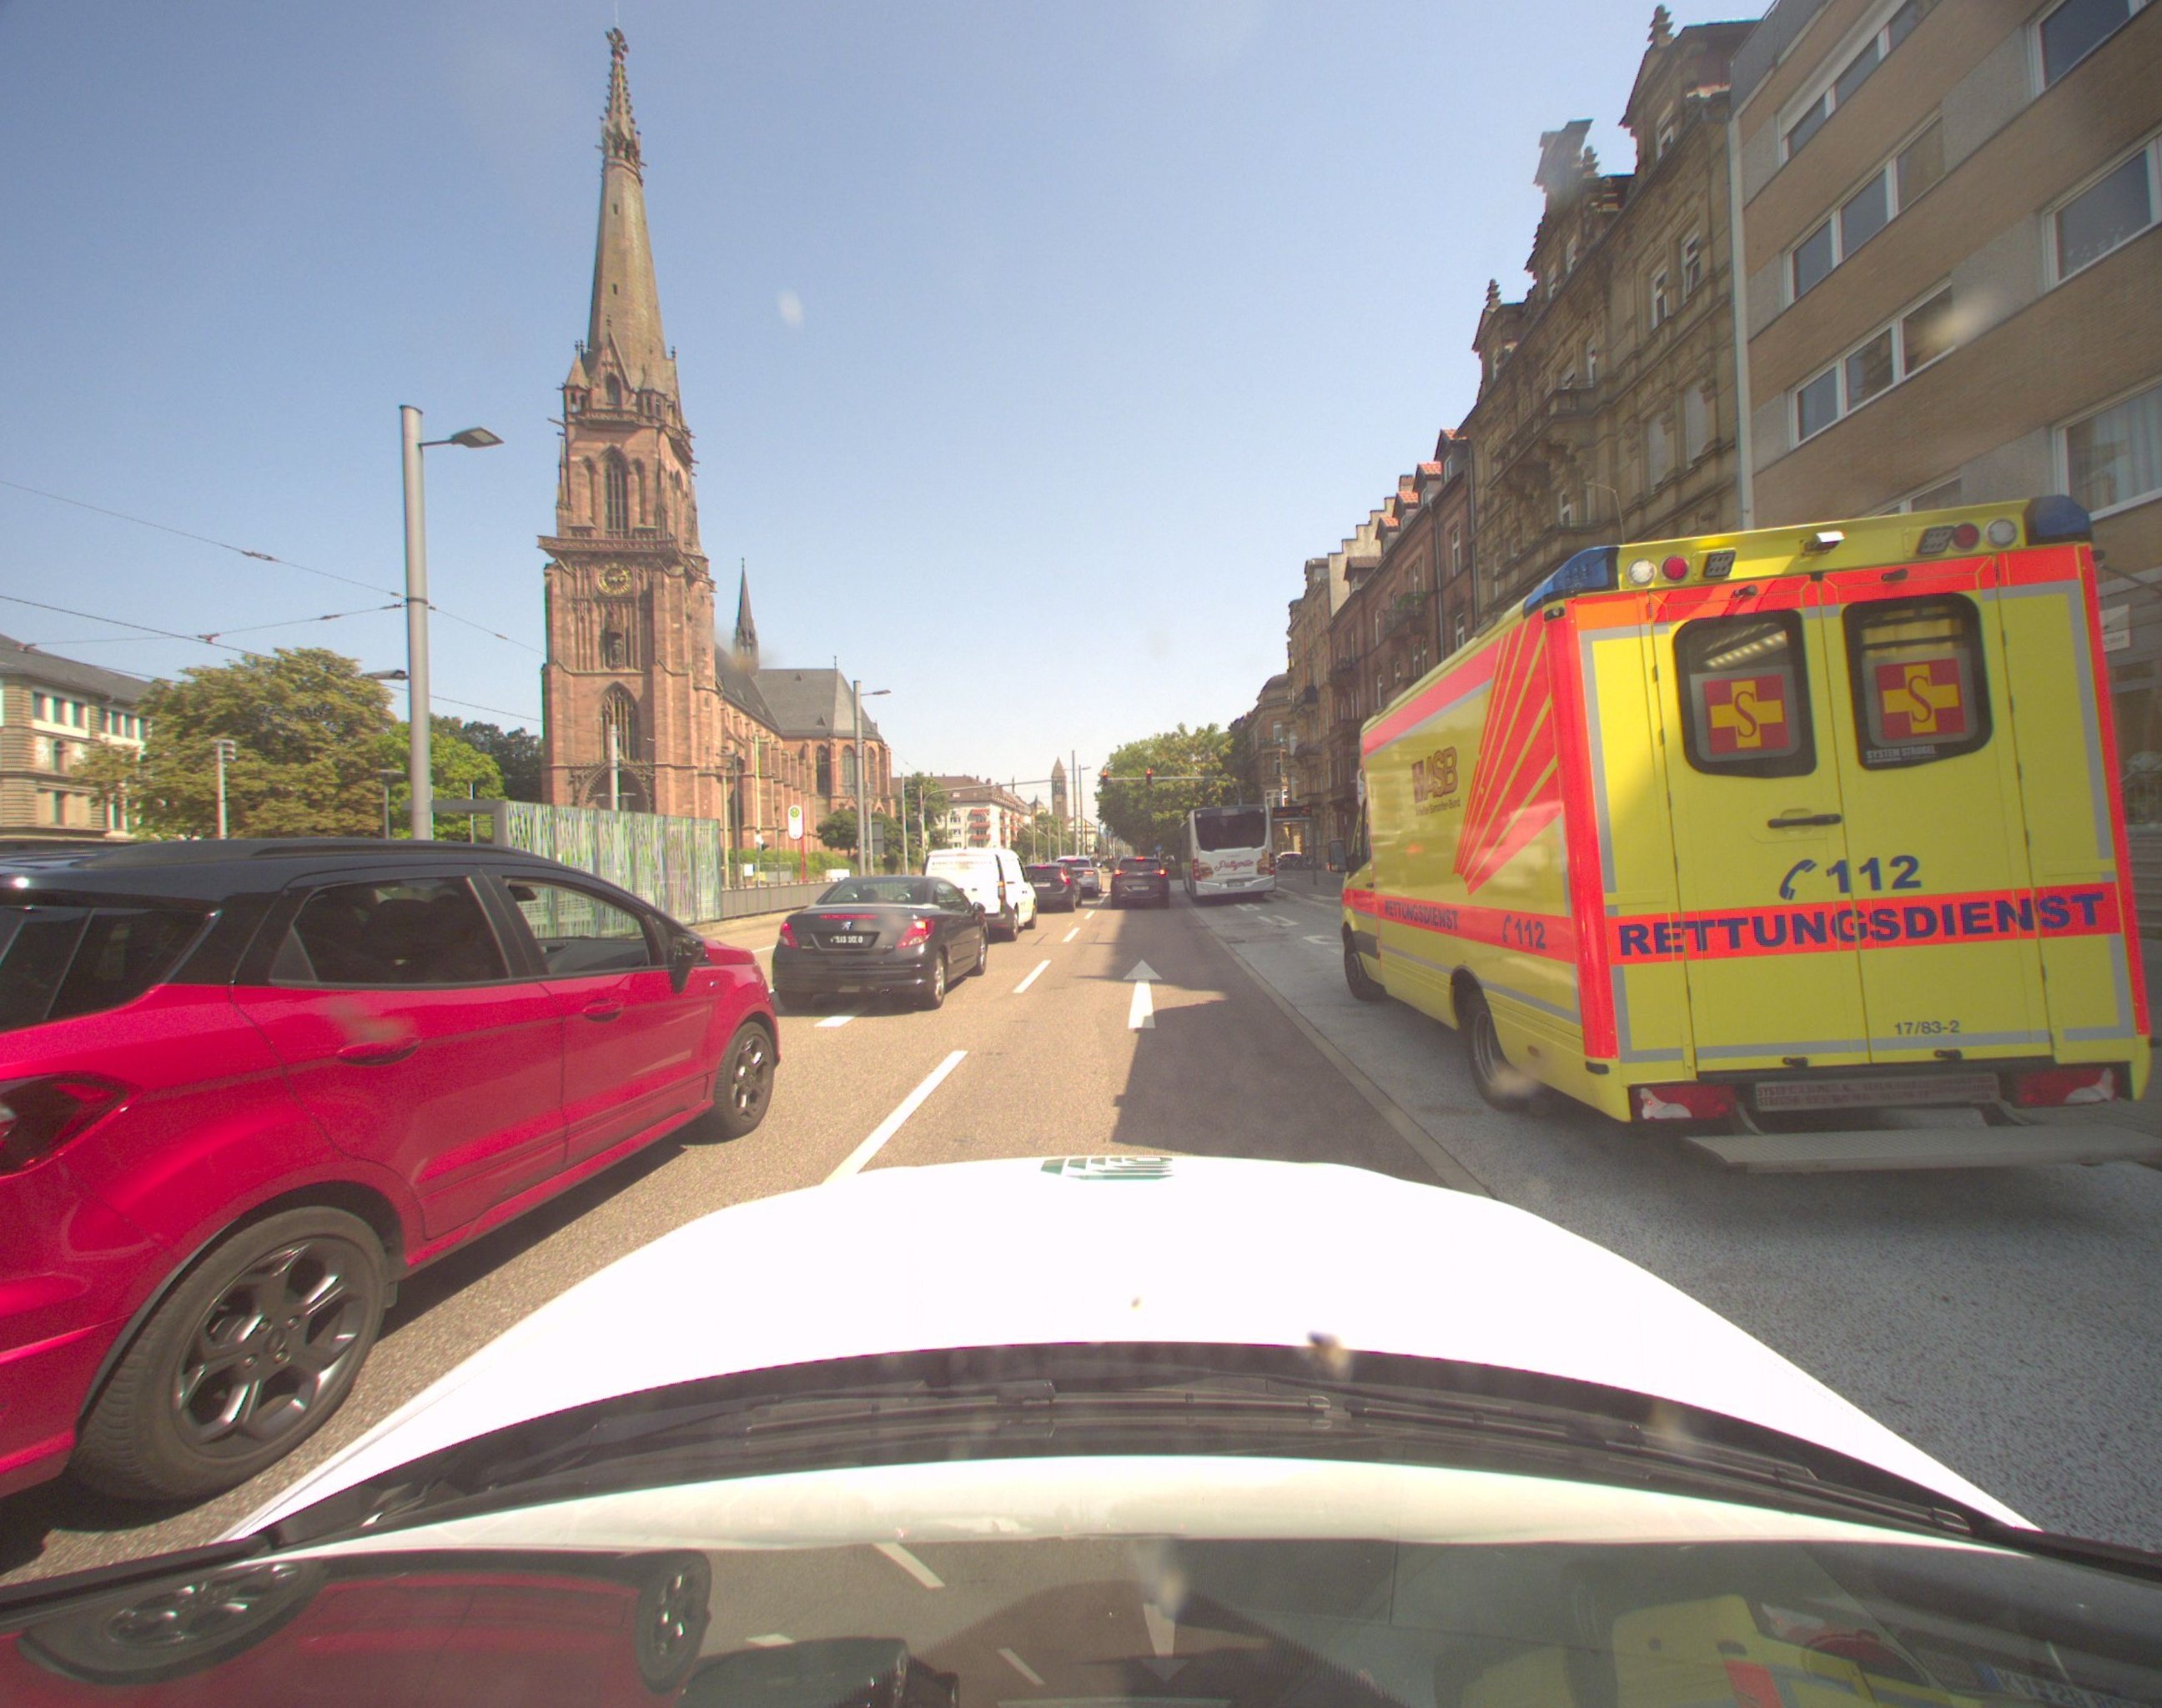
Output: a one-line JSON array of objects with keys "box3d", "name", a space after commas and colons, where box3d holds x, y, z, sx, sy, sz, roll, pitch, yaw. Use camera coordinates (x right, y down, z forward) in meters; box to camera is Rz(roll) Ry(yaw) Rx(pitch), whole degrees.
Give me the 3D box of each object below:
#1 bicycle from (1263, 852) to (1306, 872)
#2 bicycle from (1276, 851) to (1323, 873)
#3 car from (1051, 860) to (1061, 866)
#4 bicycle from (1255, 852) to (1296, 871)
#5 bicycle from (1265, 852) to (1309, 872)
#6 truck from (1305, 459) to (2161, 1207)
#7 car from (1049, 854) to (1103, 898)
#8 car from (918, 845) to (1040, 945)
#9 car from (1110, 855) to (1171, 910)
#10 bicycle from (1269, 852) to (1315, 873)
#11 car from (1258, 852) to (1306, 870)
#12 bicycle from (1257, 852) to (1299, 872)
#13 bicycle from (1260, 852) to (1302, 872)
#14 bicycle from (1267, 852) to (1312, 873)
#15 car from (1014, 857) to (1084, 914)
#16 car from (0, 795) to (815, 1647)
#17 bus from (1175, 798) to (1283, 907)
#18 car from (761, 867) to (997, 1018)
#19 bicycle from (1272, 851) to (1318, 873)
[{"box3d": [15.201, 0.578, 60.852, 2.991, 1.373, 0.948, -2, -1, 2], "name": "bicycle"}, {"box3d": [14.999, 0.579, 56.047, 2.981, 1.371, 0.872, -2, -1, 2], "name": "bicycle"}, {"box3d": [-5.822, 2.079, 189.819, 1.737, 1.435, 4.582, -4, 0, 7], "name": "car"}, {"box3d": [15.293, 0.622, 64.183, 2.991, 1.373, 0.948, -2, -1, 2], "name": "bicycle"}, {"box3d": [15.121, 0.580, 59.759, 2.991, 1.373, 0.948, -2, -1, 2], "name": "bicycle"}, {"box3d": [3.514, -0.024, 6.352, 2.316, 2.770, 6.350, -4, -1, 7], "name": "truck"}, {"box3d": [-0.134, 0.841, 33.317, 1.894, 1.651, 4.312, -1, 0, 4], "name": "car"}, {"box3d": [-1.981, 0.768, 17.109, 1.740, 1.820, 4.243, -1, 0, 4], "name": "car"}, {"box3d": [1.968, 0.864, 26.789, 1.824, 1.651, 4.314, -1, 0, 5], "name": "car"}, {"box3d": [14.980, 0.578, 57.871, 2.981, 1.371, 0.872, -2, -1, 2], "name": "bicycle"}, {"box3d": [18.580, 0.636, 75.468, 3.924, 1.521, 1.680, -2, -1, -4], "name": "car"}, {"box3d": [15.271, 0.618, 63.181, 2.991, 1.373, 0.948, -2, -1, 2], "name": "bicycle"}, {"box3d": [15.179, 0.601, 61.866, 2.991, 1.373, 0.948, -2, -1, 2], "name": "bicycle"}, {"box3d": [15.063, 0.596, 58.816, 2.981, 1.371, 0.872, -2, -1, 2], "name": "bicycle"}, {"box3d": [-0.906, 0.911, 25.457, 1.740, 1.614, 4.312, -1, 0, 4], "name": "car"}, {"box3d": [-2.723, 0.722, 3.397, 1.622, 1.620, 3.973, -1, -1, 5], "name": "car"}, {"box3d": [5.177, 0.001, 30.670, 2.730, 3.107, 11.973, -5, -1, 5], "name": "bus"}, {"box3d": [-2.168, 0.898, 9.826, 1.681, 1.414, 3.804, -1, 0, 3], "name": "car"}, {"box3d": [14.962, 0.571, 56.957, 2.981, 1.371, 0.872, -2, -1, 2], "name": "bicycle"}]
